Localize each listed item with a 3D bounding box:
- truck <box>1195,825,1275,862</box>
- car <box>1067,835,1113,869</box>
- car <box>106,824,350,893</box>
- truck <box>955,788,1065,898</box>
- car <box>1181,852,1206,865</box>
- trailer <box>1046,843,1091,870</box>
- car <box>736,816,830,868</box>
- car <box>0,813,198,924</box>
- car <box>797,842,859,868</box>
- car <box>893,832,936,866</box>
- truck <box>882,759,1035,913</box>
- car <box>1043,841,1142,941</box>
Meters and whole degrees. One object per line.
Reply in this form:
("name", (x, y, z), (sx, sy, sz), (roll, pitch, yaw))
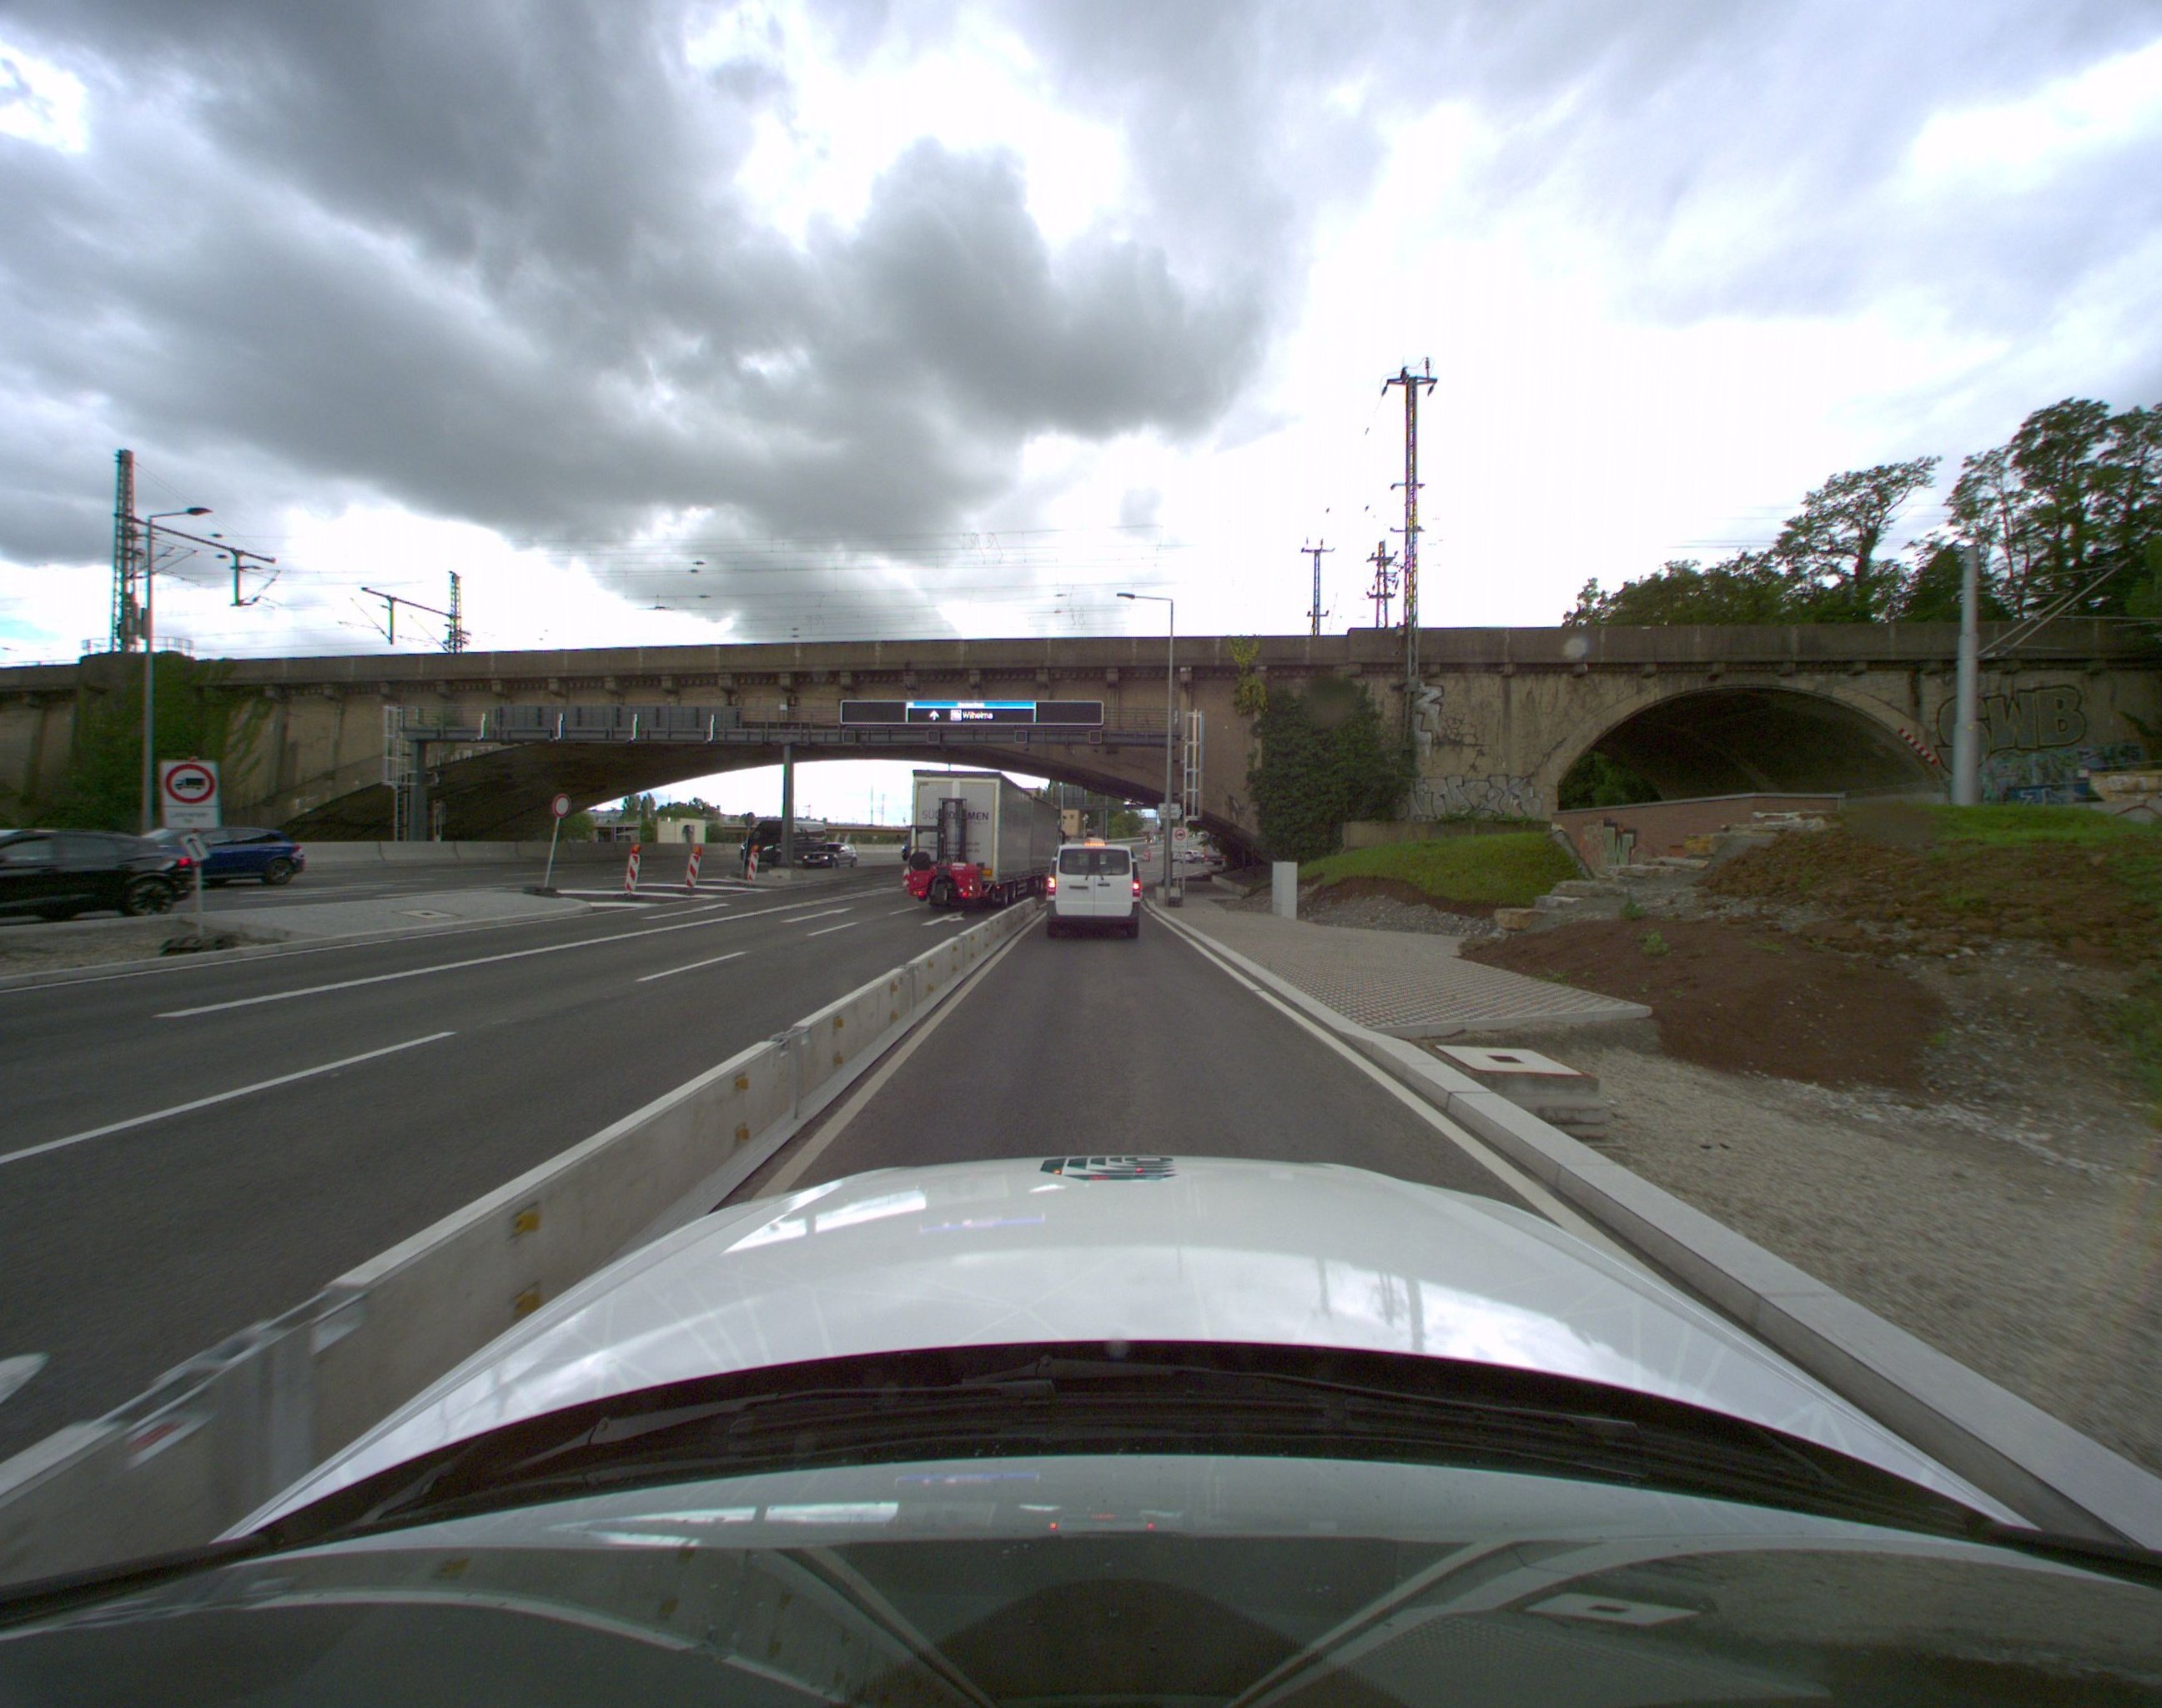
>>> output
("truck", (18.007, -1.065, 93.795), (3.285, 3.809, 16.696), (3, 1, 31))
("car", (0.776, -0.186, 66.500), (1.977, 2.541, 5.201), (3, 1, 20))
("car", (-23.149, 0.070, 22.424), (1.879, 1.683, 4.490), (0, 1, 2))
("truck", (-2.845, -0.306, 36.935), (2.973, 4.176, 11.254), (2, -1, 5))
("car", (12.694, 0.474, 92.054), (1.359, 1.376, 3.484), (1, 1, 34))
("trailer", (-0.907, 0.170, 62.175), (1.977, 1.957, 4.099), (3, 1, 20))
("car", (-17.203, -0.597, 47.486), (2.200, 2.777, 6.164), (-2, -1, 11))
("car", (-16.621, 0.240, 12.206), (1.699, 1.620, 4.456), (-2, 0, 3))
("car", (-14.011, 0.048, 45.321), (1.877, 1.331, 4.260), (-2, -1, 4))
("car", (-13.214, -0.348, 65.017), (1.954, 2.014, 5.192), (-4, -6, 4))
("truck", (-3.515, -0.382, 26.624), (2.906, 4.017, 10.206), (2, -1, 3))
("car", (0.325, 0.709, 17.933), (1.869, 1.891, 4.756), (0, 0, 2))
